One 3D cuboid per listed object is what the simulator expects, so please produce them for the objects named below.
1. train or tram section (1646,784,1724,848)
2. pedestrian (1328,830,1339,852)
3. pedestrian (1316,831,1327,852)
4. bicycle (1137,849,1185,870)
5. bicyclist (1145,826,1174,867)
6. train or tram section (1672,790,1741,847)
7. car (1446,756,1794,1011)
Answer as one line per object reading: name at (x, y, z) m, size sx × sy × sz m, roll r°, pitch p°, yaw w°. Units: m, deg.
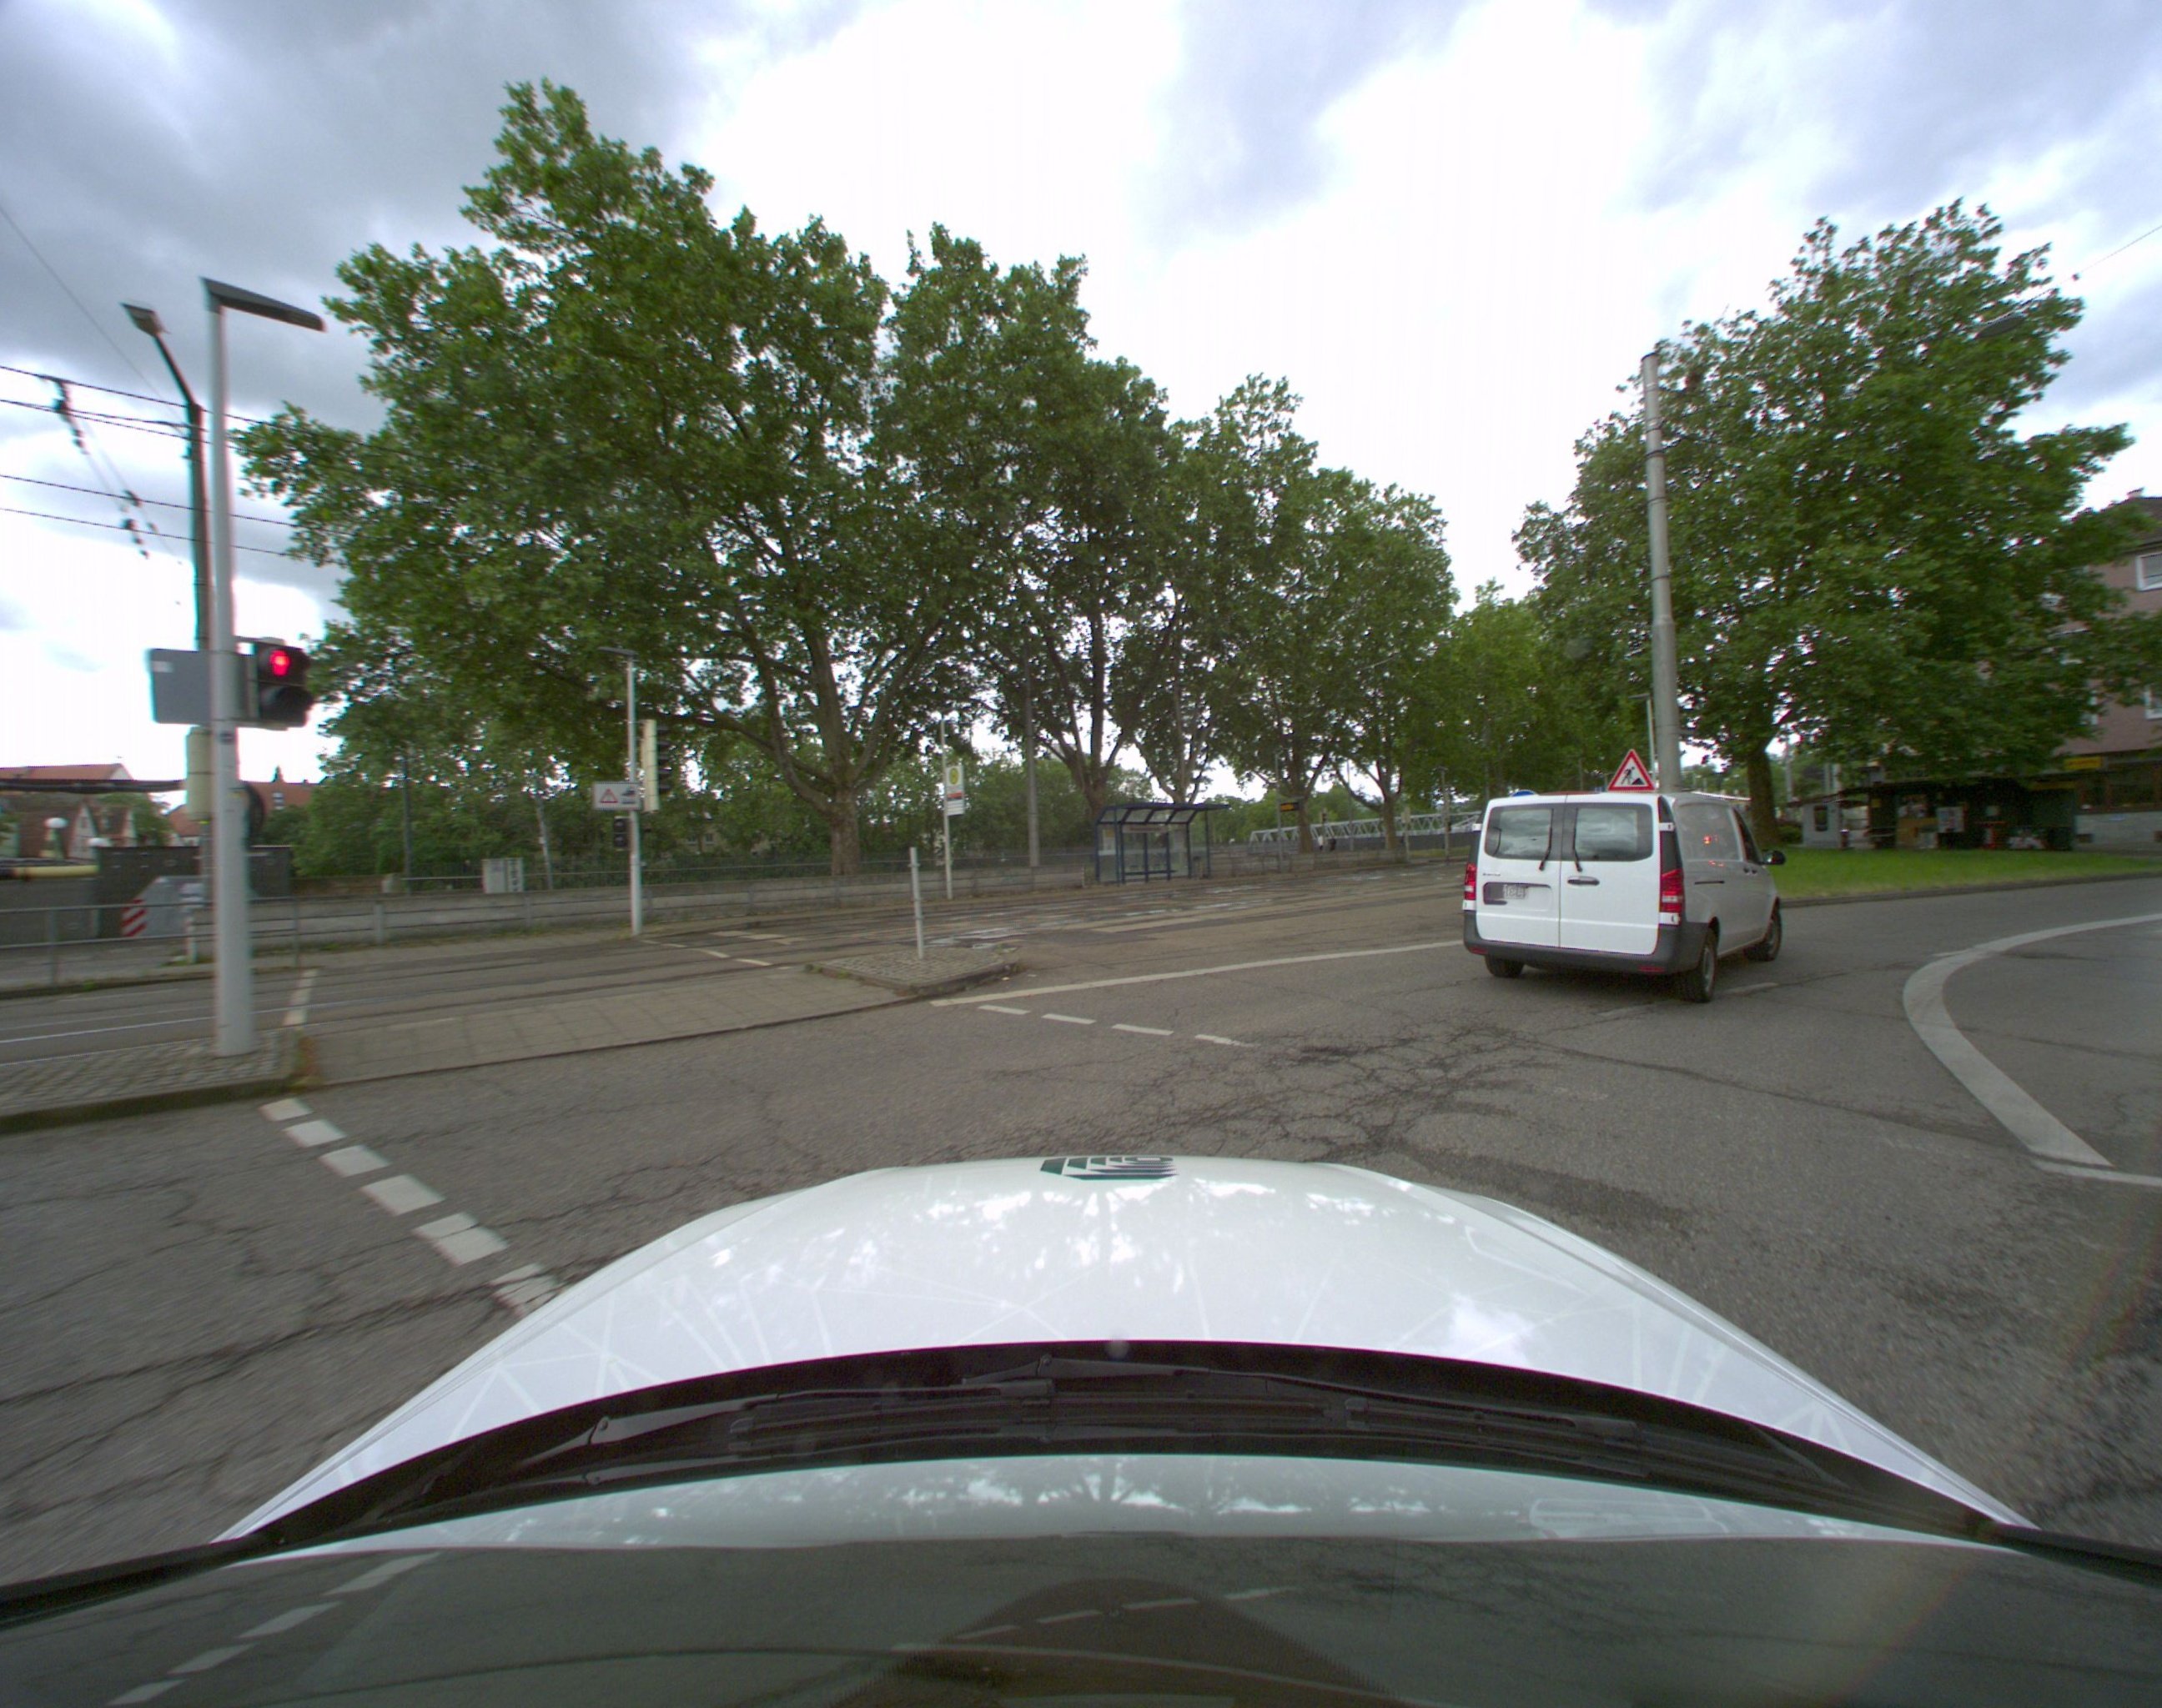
train or tram section at (36.737, -2.178, 49.422) m, size 7.801 × 3.451 × 2.555 m, roll 0°, pitch -2°, yaw -45°
pedestrian at (16.947, -0.886, 54.556) m, size 0.467 × 1.451 × 0.514 m, roll -4°, pitch -2°, yaw 43°
pedestrian at (16.331, -0.845, 55.231) m, size 0.467 × 1.451 × 0.514 m, roll -4°, pitch -2°, yaw 43°
bicycle at (3.972, 0.272, 40.464) m, size 2.511 × 1.014 × 0.923 m, roll 0°, pitch -2°, yaw -44°
bicyclist at (3.889, -0.368, 40.451) m, size 0.983 × 2.014 × 0.946 m, roll 0°, pitch -2°, yaw -43°
train or tram section at (42.278, -2.282, 54.974) m, size 7.801 × 3.451 × 2.555 m, roll 0°, pitch -2°, yaw -45°
car at (5.950, 0.217, 8.724) m, size 4.723 × 2.013 × 1.934 m, roll -1°, pitch 0°, yaw -41°
